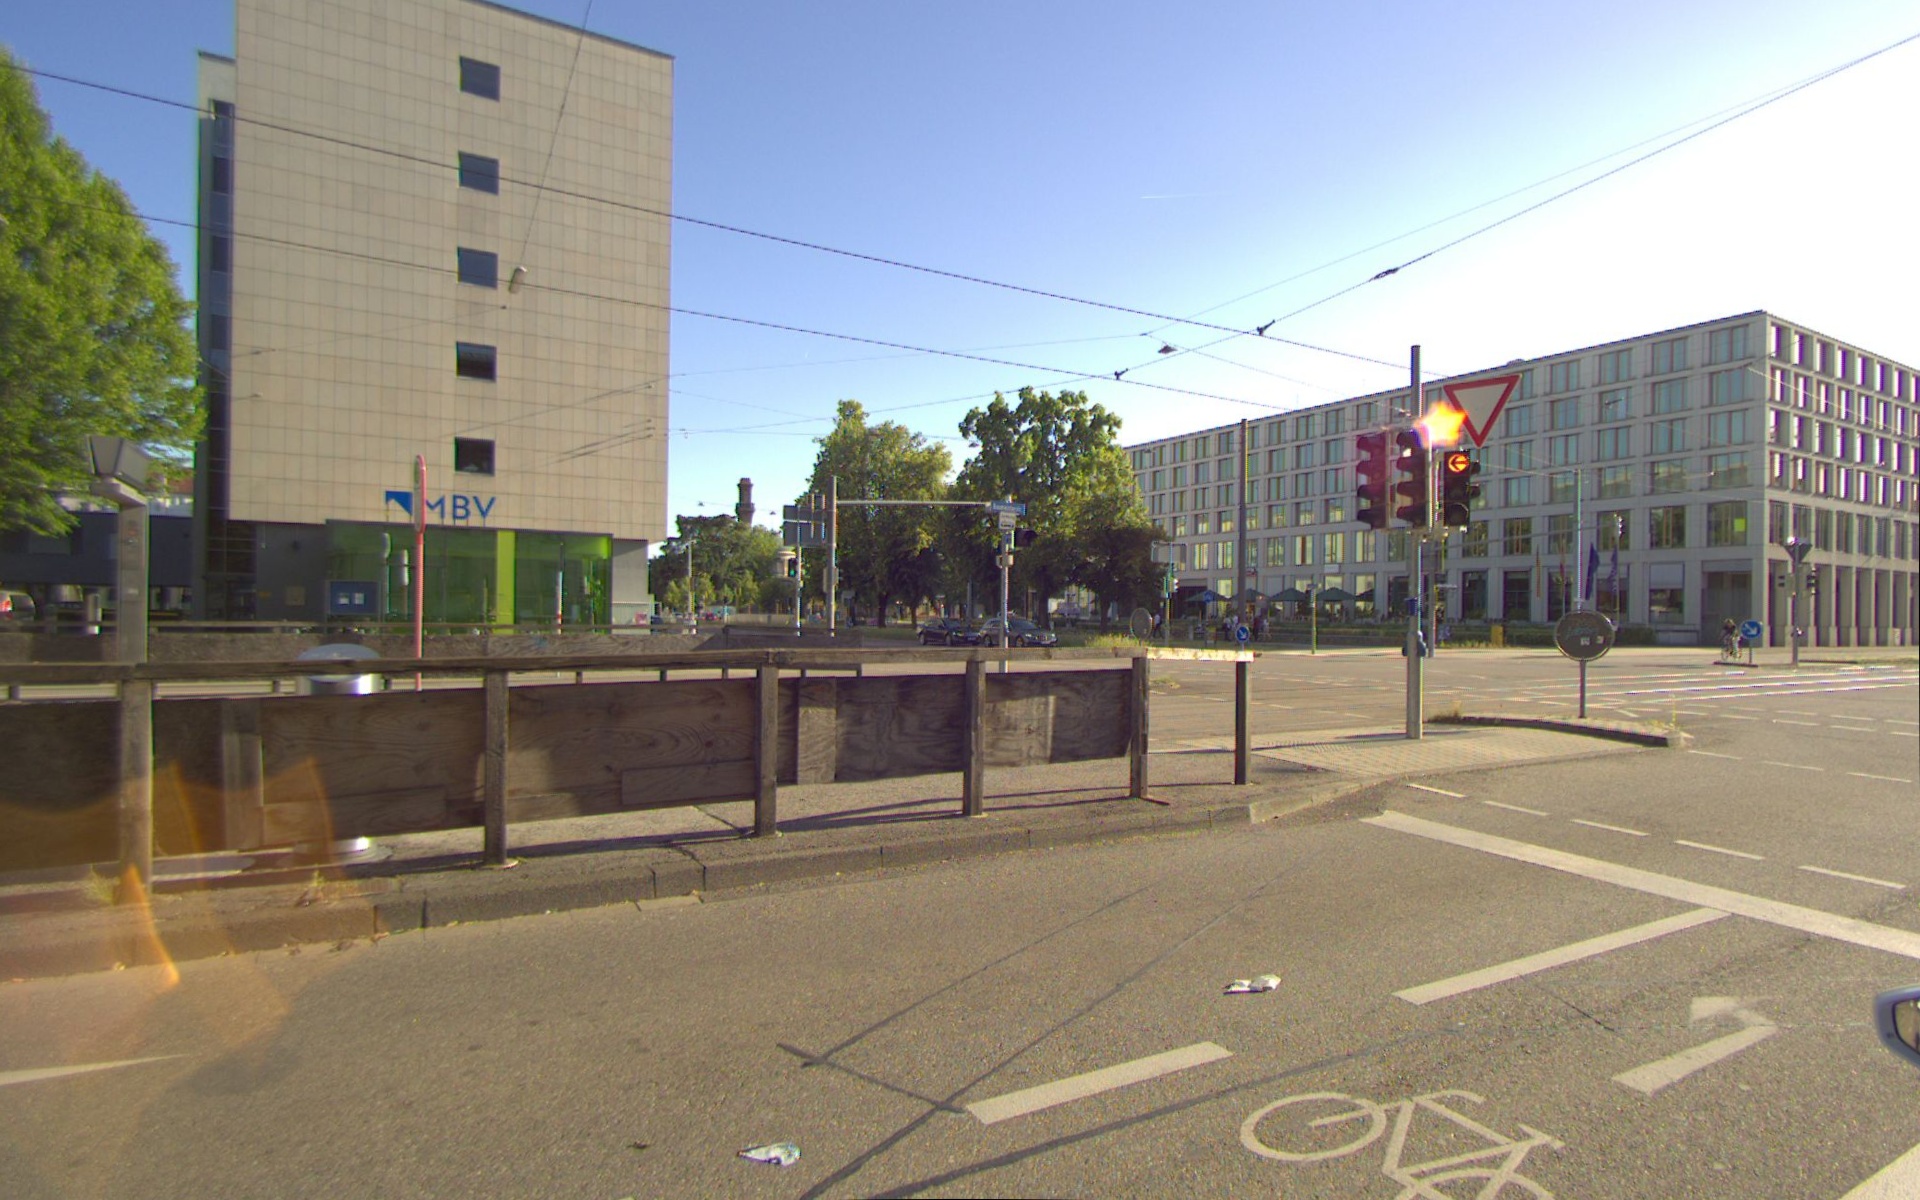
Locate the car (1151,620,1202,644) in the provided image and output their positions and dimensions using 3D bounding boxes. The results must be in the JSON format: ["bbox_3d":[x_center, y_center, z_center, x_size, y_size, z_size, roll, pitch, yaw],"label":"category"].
[{"bbox_3d":[13.627,2.006,63.343,1.454,1.457,3.170,1,-1,-30],"label":"car"}]

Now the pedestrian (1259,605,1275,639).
[{"bbox_3d":[18.560,1.326,60.766,0.793,2.040,0.526,1,-1,-36],"label":"pedestrian"}]

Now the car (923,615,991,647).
[{"bbox_3d":[-0.188,1.589,52.664,1.801,1.595,3.967,0,0,-31],"label":"car"}]

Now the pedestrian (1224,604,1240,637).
[{"bbox_3d":[16.608,1.250,61.339,0.793,2.040,0.526,1,-1,-36],"label":"pedestrian"}]

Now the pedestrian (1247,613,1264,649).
[{"bbox_3d":[17.725,1.880,60.321,0.644,2.095,0.645,6,-4,-36],"label":"pedestrian"}]

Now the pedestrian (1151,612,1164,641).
[{"bbox_3d":[13.129,1.754,66.768,0.672,1.928,0.560,1,-1,-21],"label":"pedestrian"}]

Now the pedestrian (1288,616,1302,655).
[{"bbox_3d":[20.140,2.140,60.361,0.528,2.310,0.565,1,-1,-36],"label":"pedestrian"}]

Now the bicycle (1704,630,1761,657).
[{"bbox_3d":[33.655,1.867,43.731,2.976,1.136,0.871,1,-1,-29],"label":"bicycle"}]

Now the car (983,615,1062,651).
[{"bbox_3d":[2.894,1.538,47.561,1.708,1.595,4.140,1,-1,-31],"label":"car"}]

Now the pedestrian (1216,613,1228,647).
[{"bbox_3d":[15.883,1.814,60.906,0.483,2.040,0.493,1,-1,-17],"label":"pedestrian"}]
